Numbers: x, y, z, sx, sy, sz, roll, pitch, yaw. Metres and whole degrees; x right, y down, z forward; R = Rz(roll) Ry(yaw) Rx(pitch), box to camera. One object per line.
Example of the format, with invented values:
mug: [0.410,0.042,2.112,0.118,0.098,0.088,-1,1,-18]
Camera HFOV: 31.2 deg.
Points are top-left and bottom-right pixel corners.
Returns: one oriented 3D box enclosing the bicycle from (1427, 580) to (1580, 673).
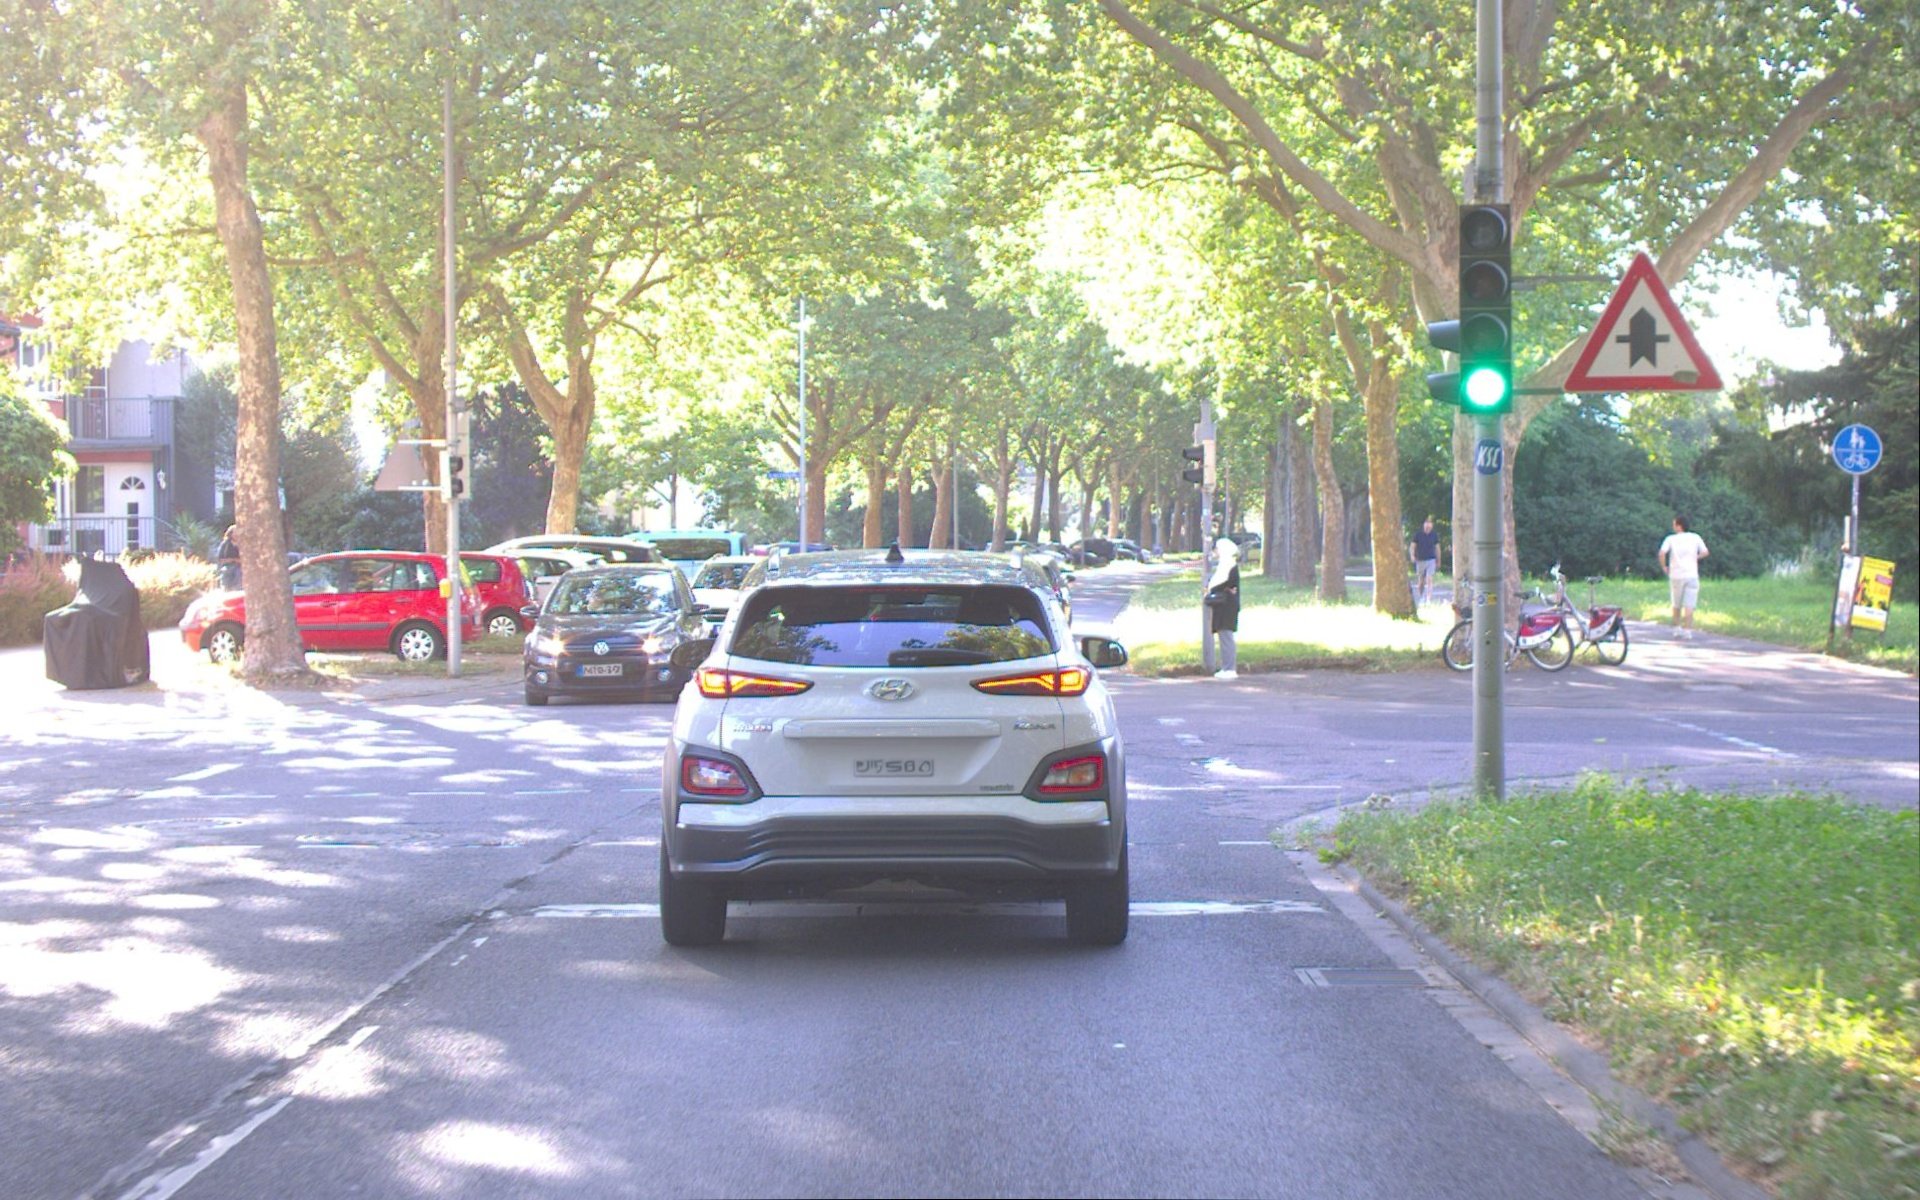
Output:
bicycle: [6.278,0.297,39.766,1.718,1.031,0.445,1,4,37]

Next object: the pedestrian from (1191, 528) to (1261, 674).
pedestrian: [3.199,0.003,41.377,0.634,1.713,0.826,-3,1,-6]

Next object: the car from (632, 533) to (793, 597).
car: [-6.176,-0.874,86.015,3.871,1.513,1.665,-1,1,1]

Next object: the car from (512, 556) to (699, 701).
car: [-3.771,0.268,37.102,1.726,1.459,4.069,-1,1,-2]

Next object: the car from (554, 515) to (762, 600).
car: [-6.642,-0.955,75.879,4.385,1.818,1.996,0,1,1]

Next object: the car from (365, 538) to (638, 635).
car: [-7.393,-0.235,55.679,4.161,1.496,1.876,1,1,0]

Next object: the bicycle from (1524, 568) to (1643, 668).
bicycle: [7.355,0.200,40.629,0.445,1.079,2.009,-3,3,-19]

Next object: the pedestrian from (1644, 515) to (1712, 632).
pedestrian: [10.280,-0.384,49.234,0.779,1.644,0.939,-1,1,1]

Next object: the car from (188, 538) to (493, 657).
car: [-8.266,-0.048,46.075,3.764,1.529,1.832,0,1,0]

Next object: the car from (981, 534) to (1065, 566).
car: [3.221,-2.541,175.105,4.183,1.579,2.000,1,1,4]

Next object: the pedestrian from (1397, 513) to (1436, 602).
pedestrian: [9.511,-0.881,71.667,0.761,1.839,0.787,0,1,5]

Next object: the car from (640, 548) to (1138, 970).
car: [-0.284,0.566,14.695,1.835,1.550,4.000,0,1,-1]

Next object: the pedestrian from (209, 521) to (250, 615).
pedestrian: [-12.004,-0.523,56.506,0.509,1.526,1.034,-1,0,-4]

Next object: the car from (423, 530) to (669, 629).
car: [-7.301,-0.375,60.818,4.091,1.710,1.831,0,1,2]

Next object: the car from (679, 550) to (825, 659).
car: [-2.962,0.036,49.687,1.716,1.496,4.094,0,1,2]

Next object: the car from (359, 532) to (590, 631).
car: [-7.543,-0.295,53.622,3.339,1.475,1.695,1,1,0]

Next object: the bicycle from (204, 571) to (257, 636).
bicycle: [-11.995,0.052,56.553,0.509,1.038,2.153,-1,0,-3]

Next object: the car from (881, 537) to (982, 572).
car: [-1.136,-1.814,137.172,3.826,1.312,1.789,1,1,6]

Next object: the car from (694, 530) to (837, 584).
car: [-5.614,-1.252,99.593,3.988,1.513,1.817,1,1,1]

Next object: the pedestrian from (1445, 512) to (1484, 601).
pedestrian: [10.495,-0.910,71.571,0.755,1.841,0.802,0,1,5]

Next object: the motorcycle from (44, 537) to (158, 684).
motorcycle: [-10.311,0.101,41.351,0.979,1.632,2.390,-1,3,-6]
